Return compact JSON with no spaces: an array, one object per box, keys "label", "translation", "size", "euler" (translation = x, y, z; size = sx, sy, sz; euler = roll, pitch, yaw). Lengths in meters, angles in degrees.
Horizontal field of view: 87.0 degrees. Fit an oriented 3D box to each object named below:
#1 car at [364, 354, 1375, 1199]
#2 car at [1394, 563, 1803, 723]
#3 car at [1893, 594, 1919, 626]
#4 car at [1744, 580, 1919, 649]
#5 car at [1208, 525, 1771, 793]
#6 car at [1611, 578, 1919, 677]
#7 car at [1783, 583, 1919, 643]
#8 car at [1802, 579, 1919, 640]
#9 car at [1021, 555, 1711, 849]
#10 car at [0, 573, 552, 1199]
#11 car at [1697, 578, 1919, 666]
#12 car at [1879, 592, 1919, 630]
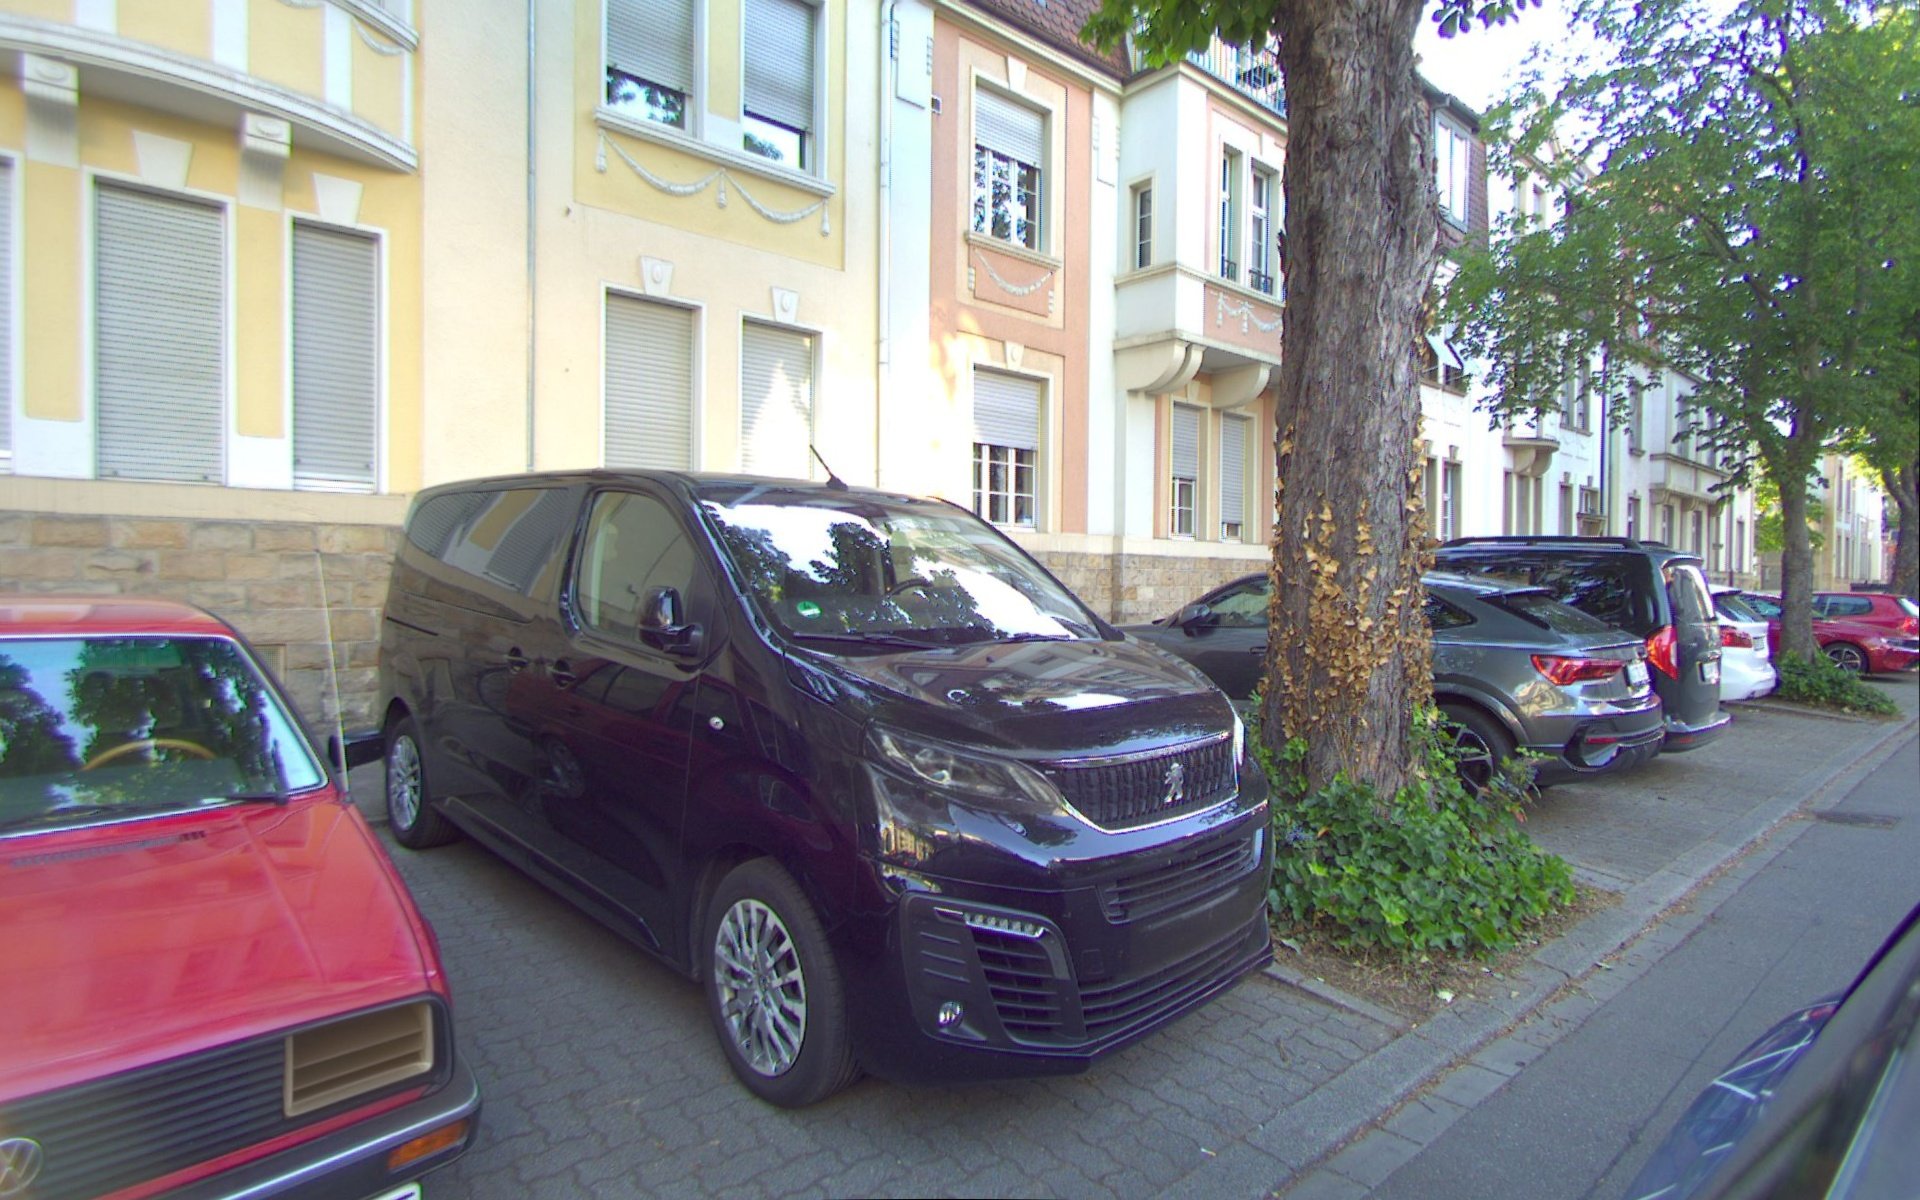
[{"label":"car","translation":[-0.931,0.330,4.474],"size":[1.867,1.897,4.753],"euler":[-1,3,-44]},{"label":"car","translation":[7.711,0.385,12.523],"size":[1.689,1.597,3.948],"euler":[0,3,-41]},{"label":"car","translation":[34.285,0.398,34.527],"size":[1.515,1.076,3.400],"euler":[0,3,-39]},{"label":"car","translation":[21.861,0.311,24.971],"size":[1.548,1.484,3.681],"euler":[0,3,-39]},{"label":"car","translation":[4.526,0.315,9.144],"size":[1.814,1.860,4.116],"euler":[0,3,-42]},{"label":"car","translation":[14.794,0.394,18.461],"size":[1.833,1.470,4.533],"euler":[0,3,-38]},{"label":"car","translation":[24.013,0.334,26.409],"size":[1.548,1.416,3.681],"euler":[0,3,-39]},{"label":"car","translation":[25.879,0.247,28.030],"size":[1.548,1.576,3.681],"euler":[0,3,-39]},{"label":"car","translation":[2.752,0.467,7.701],"size":[1.815,1.542,4.513],"euler":[-1,3,-44]},{"label":"car","translation":[-2.867,0.633,3.034],"size":[1.603,1.332,4.140],"euler":[-1,3,-44]},{"label":"car","translation":[16.903,0.365,19.816],"size":[1.628,1.499,3.682],"euler":[0,3,-38]},{"label":"car","translation":[31.904,0.398,32.464],"size":[1.515,1.164,3.400],"euler":[0,3,-39]}]
